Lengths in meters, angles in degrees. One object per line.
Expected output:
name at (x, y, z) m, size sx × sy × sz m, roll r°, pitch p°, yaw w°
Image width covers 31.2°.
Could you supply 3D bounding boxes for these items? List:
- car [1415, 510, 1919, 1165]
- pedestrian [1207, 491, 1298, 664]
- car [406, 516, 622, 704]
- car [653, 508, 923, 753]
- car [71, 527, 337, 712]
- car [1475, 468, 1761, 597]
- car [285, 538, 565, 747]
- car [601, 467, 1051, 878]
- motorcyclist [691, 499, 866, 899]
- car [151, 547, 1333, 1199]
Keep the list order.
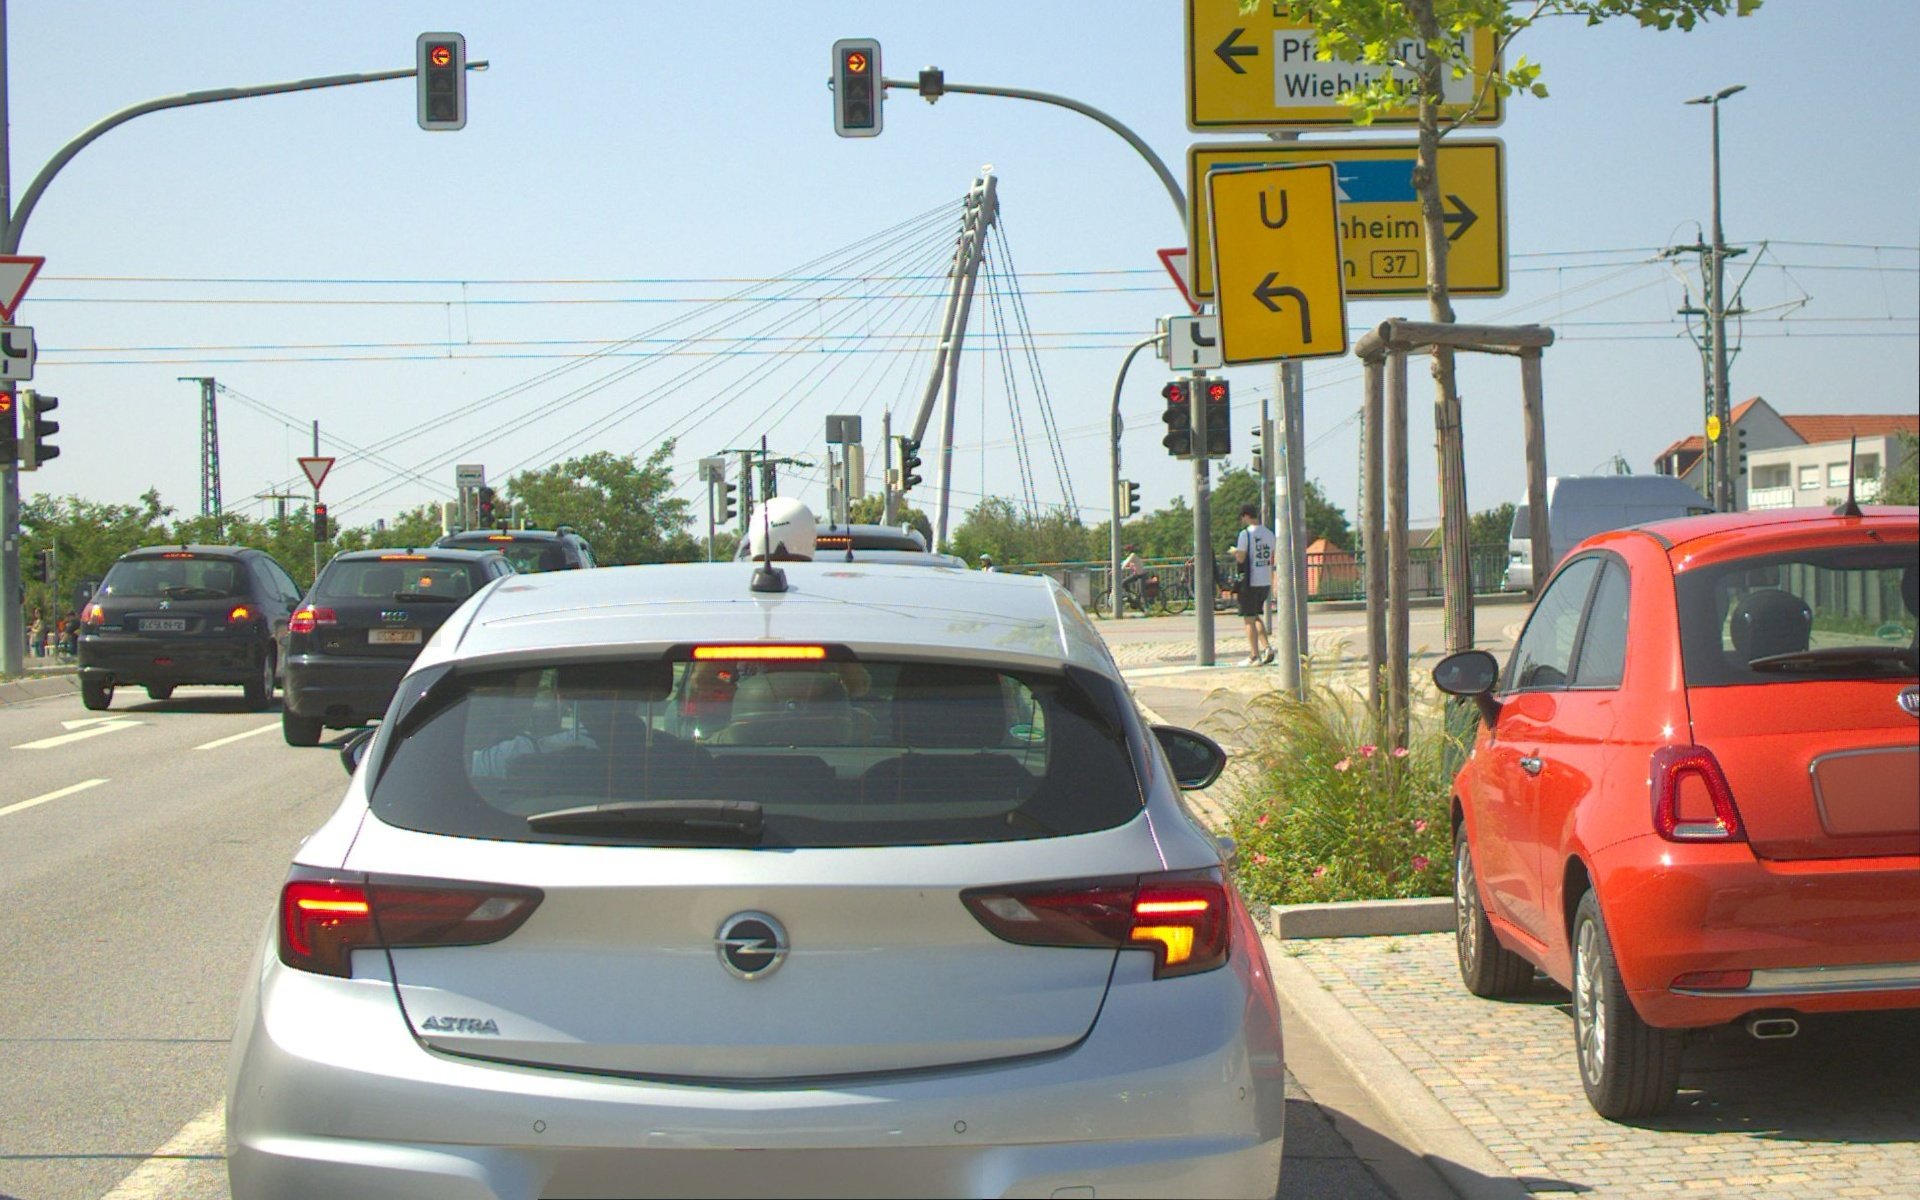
car at (2.329, 0.516, 9.752) m, size 1.610 × 1.491 × 3.352 m, roll -2°, pitch 1°, yaw 1°
pedestrian at (3.145, -0.246, 36.888) m, size 0.648 × 1.830 × 0.796 m, roll -1°, pitch 0°, yaw 33°
car at (-4.044, 0.068, 31.623) m, size 1.649 × 1.610 × 3.821 m, roll 1°, pitch 1°, yaw -3°
car at (-1.140, 0.145, 24.367) m, size 1.724 × 1.558 × 4.000 m, roll 1°, pitch 2°, yaw 0°
car at (-6.762, 0.147, 31.062) m, size 1.597 × 1.542 × 3.762 m, roll 1°, pitch 1°, yaw -1°
car at (12.392, -1.249, 64.831) m, size 4.998 × 2.368 × 1.784 m, roll 0°, pitch 0°, yaw -13°
car at (-3.925, 0.278, 25.723) m, size 1.575 × 1.429 × 3.786 m, roll 1°, pitch 1°, yaw -1°
car at (-0.625, 0.268, 17.578) m, size 1.993 × 1.814 × 4.402 m, roll 1°, pitch 2°, yaw -1°
motorcyclist at (-0.641, 0.342, 12.310) m, size 0.581 × 1.384 × 0.707 m, roll 1°, pitch 0°, yaw -1°
car at (-0.429, 0.649, 7.115) m, size 1.742 × 1.473 × 4.001 m, roll 1°, pitch 1°, yaw -3°
